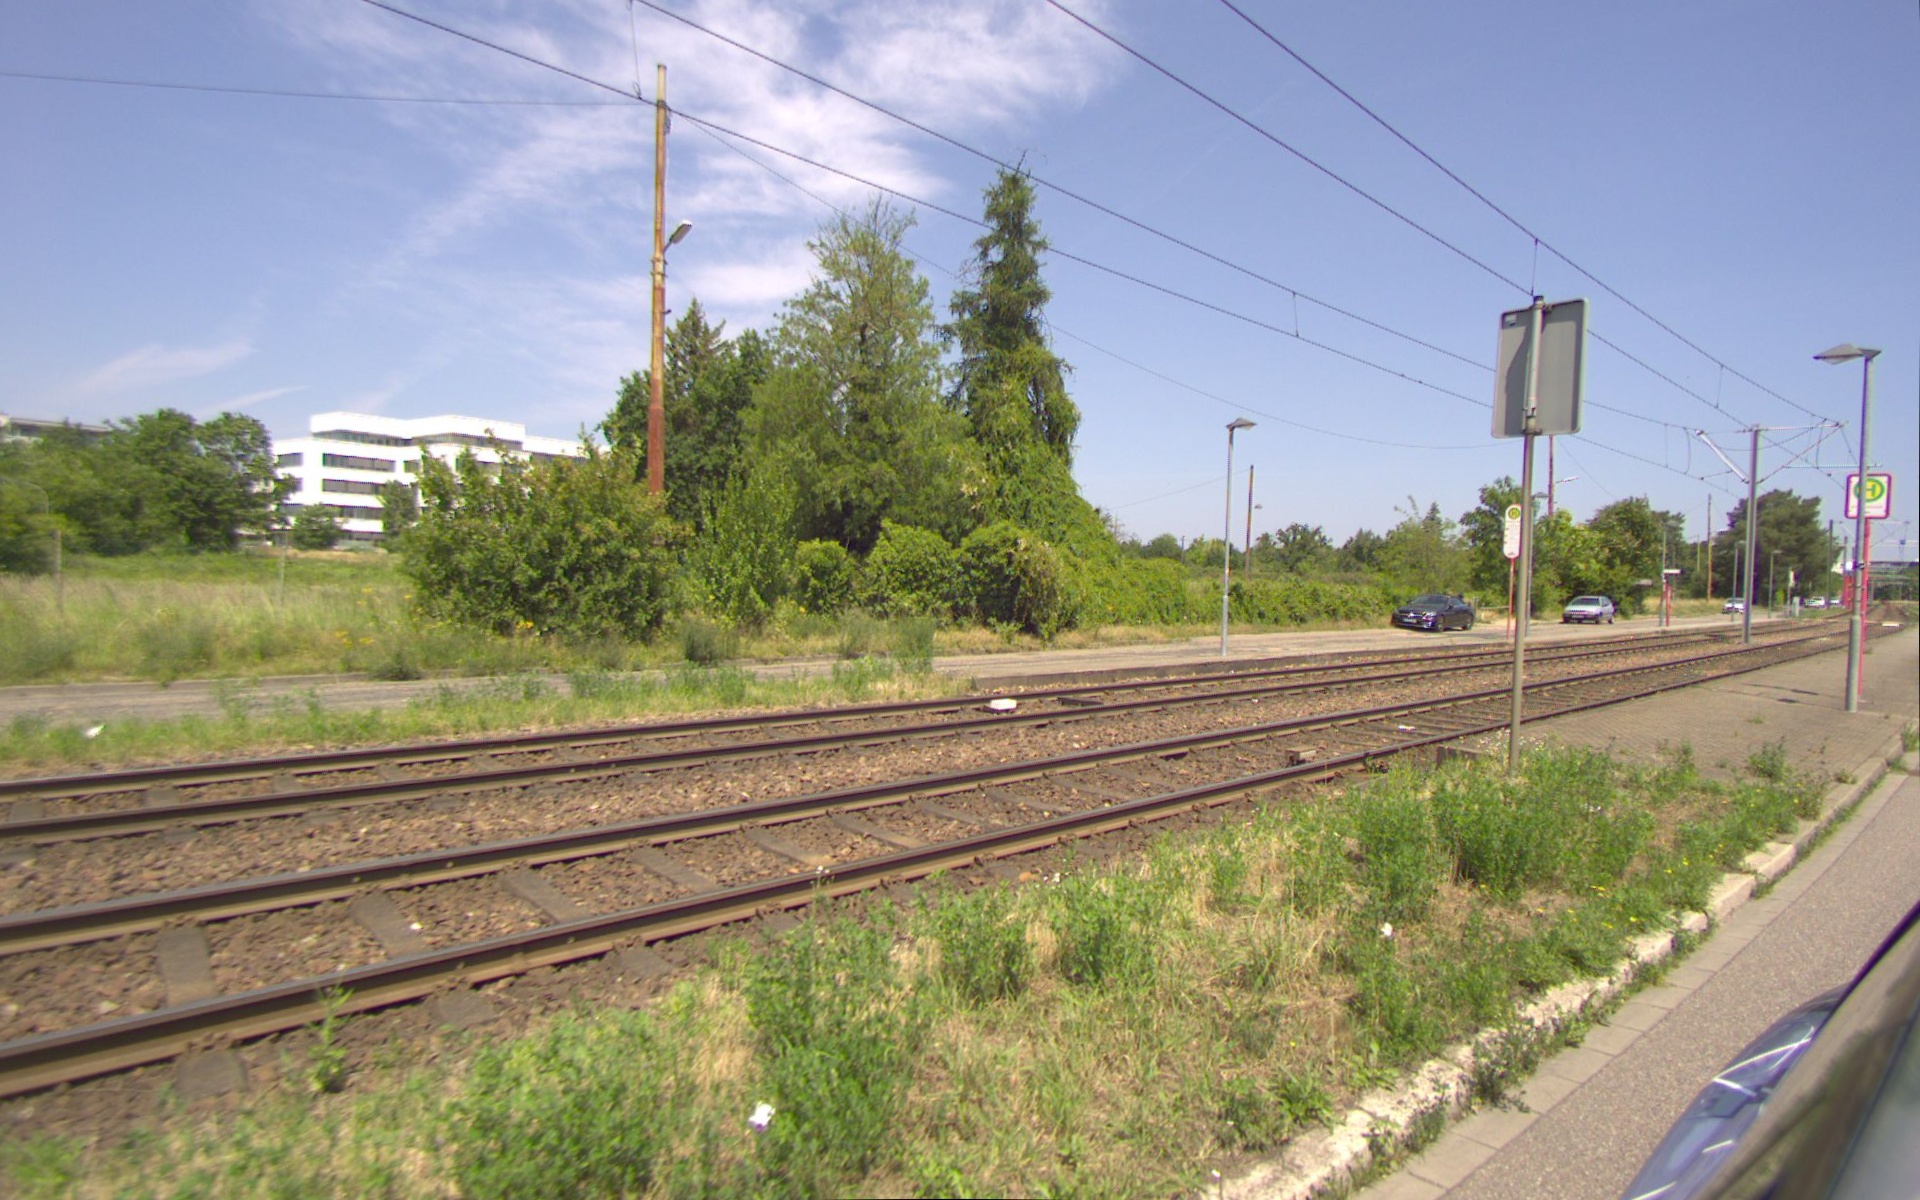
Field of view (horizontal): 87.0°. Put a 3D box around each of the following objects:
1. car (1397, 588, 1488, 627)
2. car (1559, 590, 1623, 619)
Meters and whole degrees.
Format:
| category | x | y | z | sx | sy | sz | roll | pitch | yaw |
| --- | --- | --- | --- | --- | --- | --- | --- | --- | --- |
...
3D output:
| category | x | y | z | sx | sy | sz | roll | pitch | yaw |
| --- | --- | --- | --- | --- | --- | --- | --- | --- | --- |
| car | 19.023 | 0.251 | 39.797 | 4.791 | 1.440 | 1.621 | -1 | 1 | -43 |
| car | 32.485 | 0.199 | 52.073 | 3.934 | 1.440 | 1.941 | -1 | 1 | -44 |
